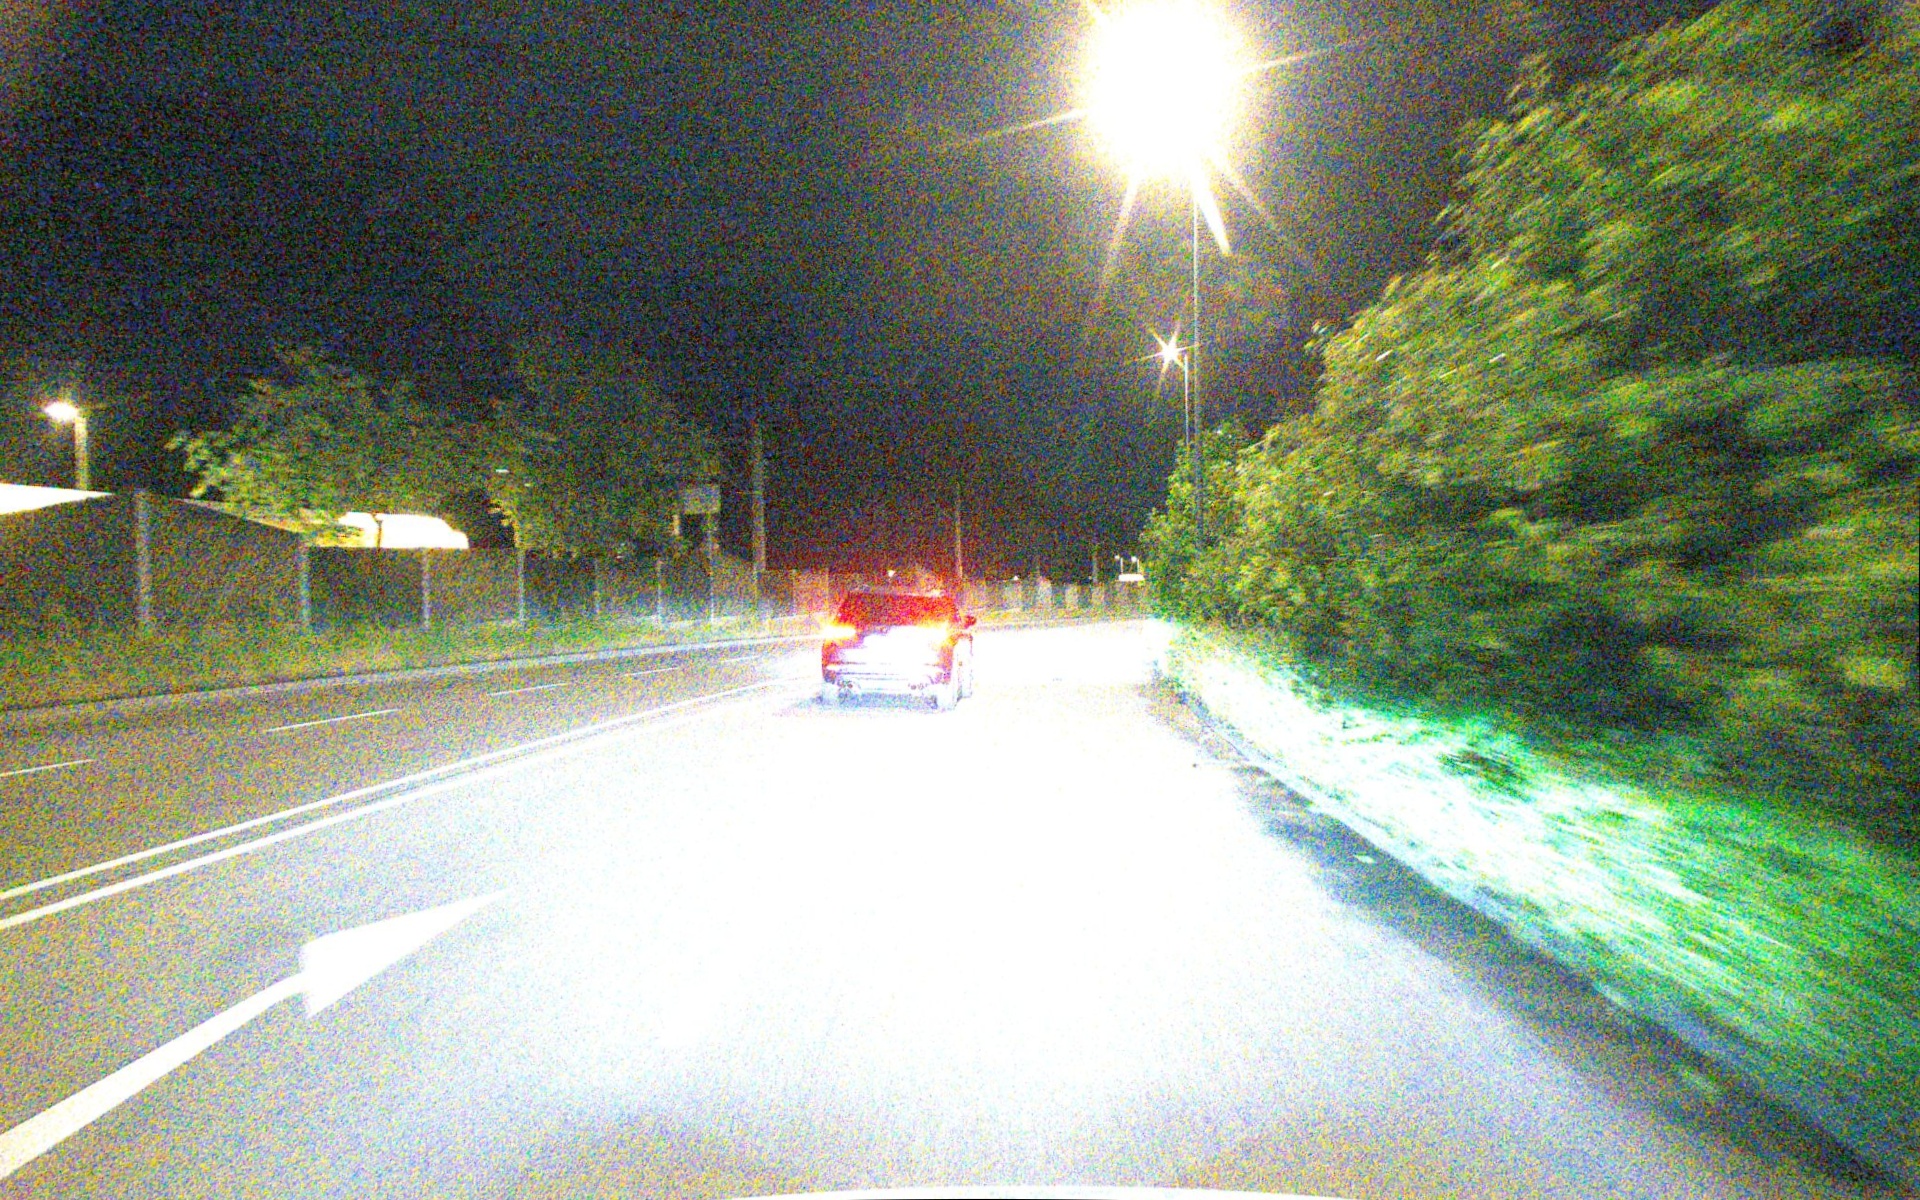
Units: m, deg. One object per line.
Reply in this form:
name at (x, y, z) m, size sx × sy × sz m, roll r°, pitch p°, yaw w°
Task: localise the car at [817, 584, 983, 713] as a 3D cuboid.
car at (-0.736, 0.601, 22.917) m, size 1.776 × 1.601 × 3.946 m, roll 1°, pitch 0°, yaw 5°
